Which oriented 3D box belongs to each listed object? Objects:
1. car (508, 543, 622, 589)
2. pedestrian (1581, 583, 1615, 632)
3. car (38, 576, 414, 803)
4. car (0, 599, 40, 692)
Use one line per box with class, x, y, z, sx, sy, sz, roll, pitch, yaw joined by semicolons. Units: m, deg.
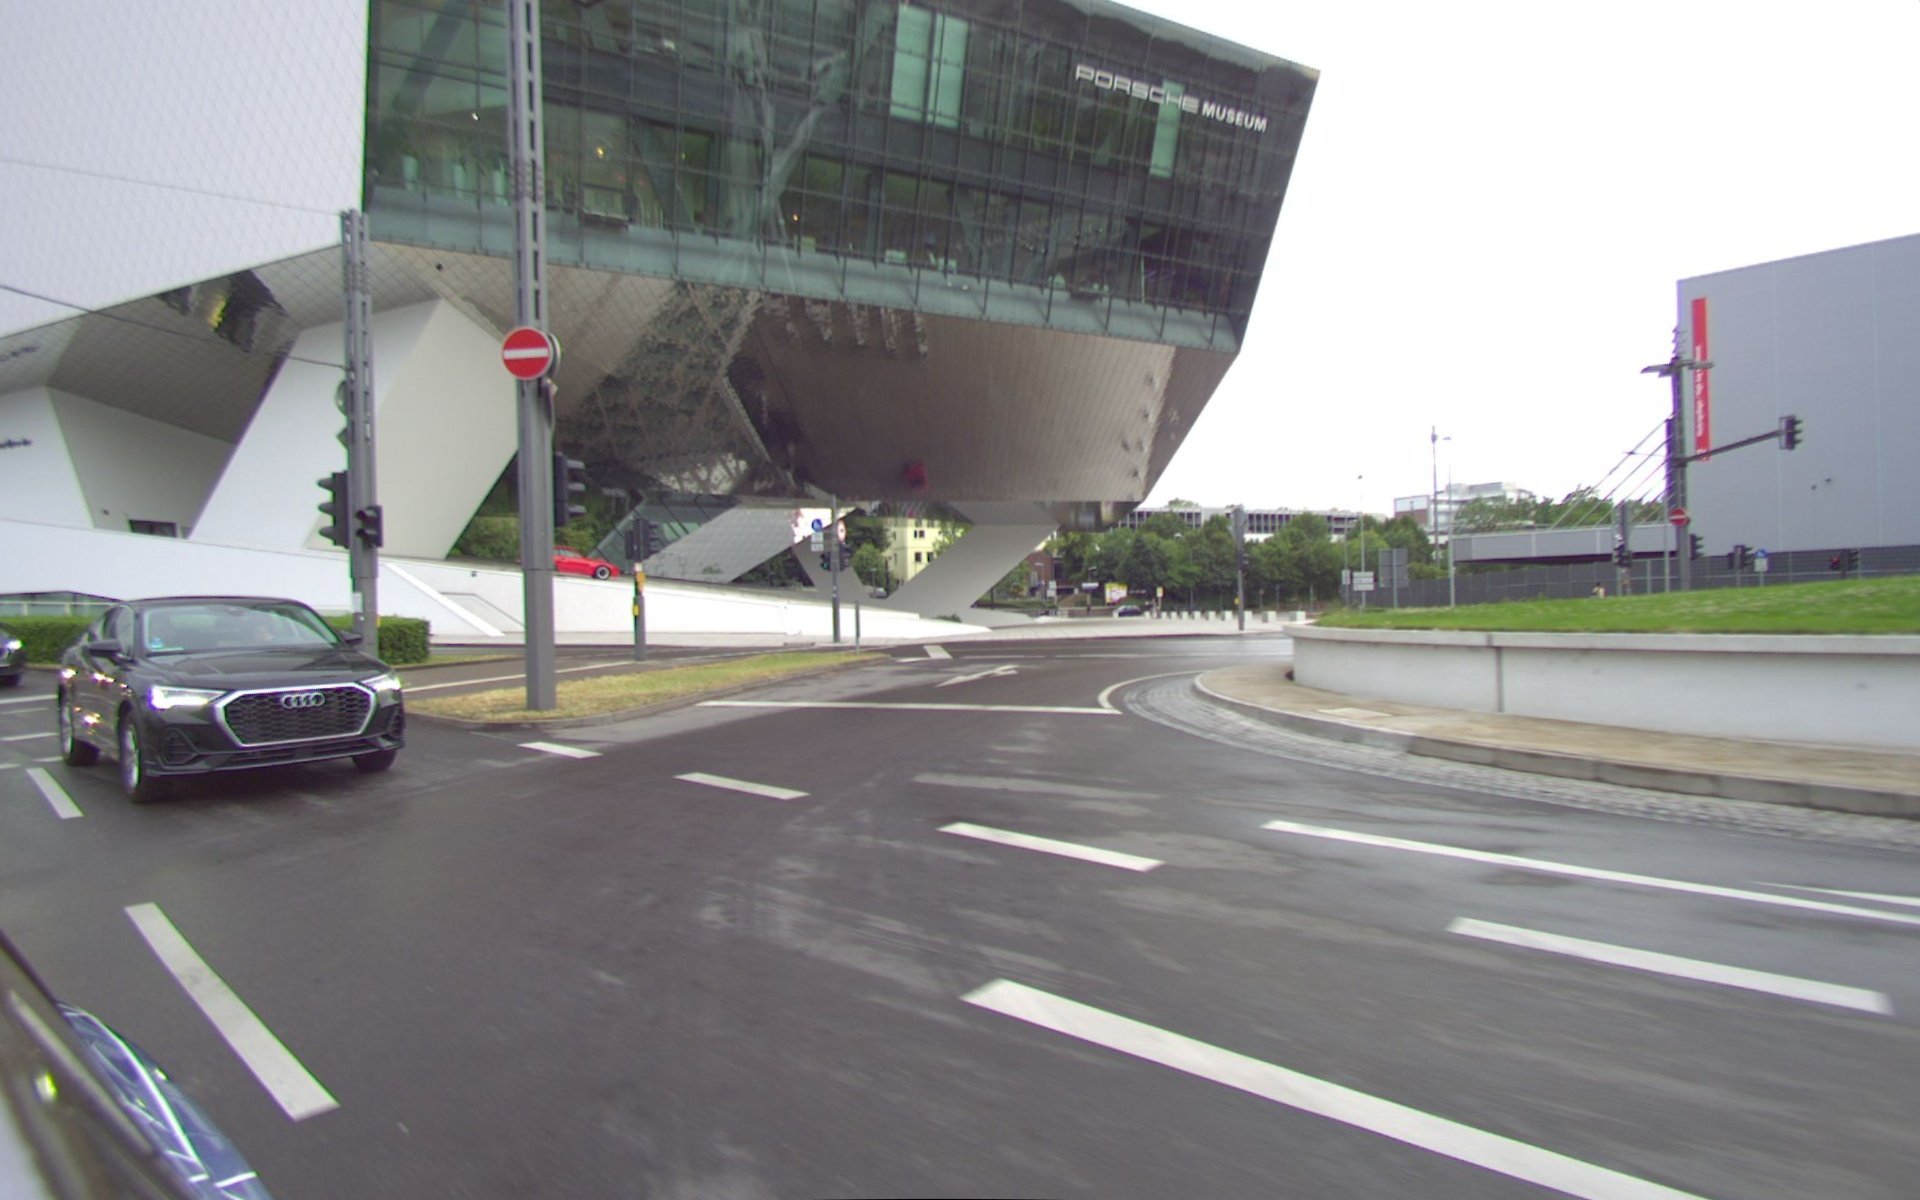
car;-16.944;-1.421;43.437;4.173;1.395;2.006;7;-4;-30
pedestrian;24.431;0.288;38.737;0.842;1.816;0.648;-1;0;2
car;-6.629;0.651;8.944;4.392;1.530;1.734;-2;-1;41
car;-17.472;0.738;16.772;4.278;1.449;1.803;1;2;26
